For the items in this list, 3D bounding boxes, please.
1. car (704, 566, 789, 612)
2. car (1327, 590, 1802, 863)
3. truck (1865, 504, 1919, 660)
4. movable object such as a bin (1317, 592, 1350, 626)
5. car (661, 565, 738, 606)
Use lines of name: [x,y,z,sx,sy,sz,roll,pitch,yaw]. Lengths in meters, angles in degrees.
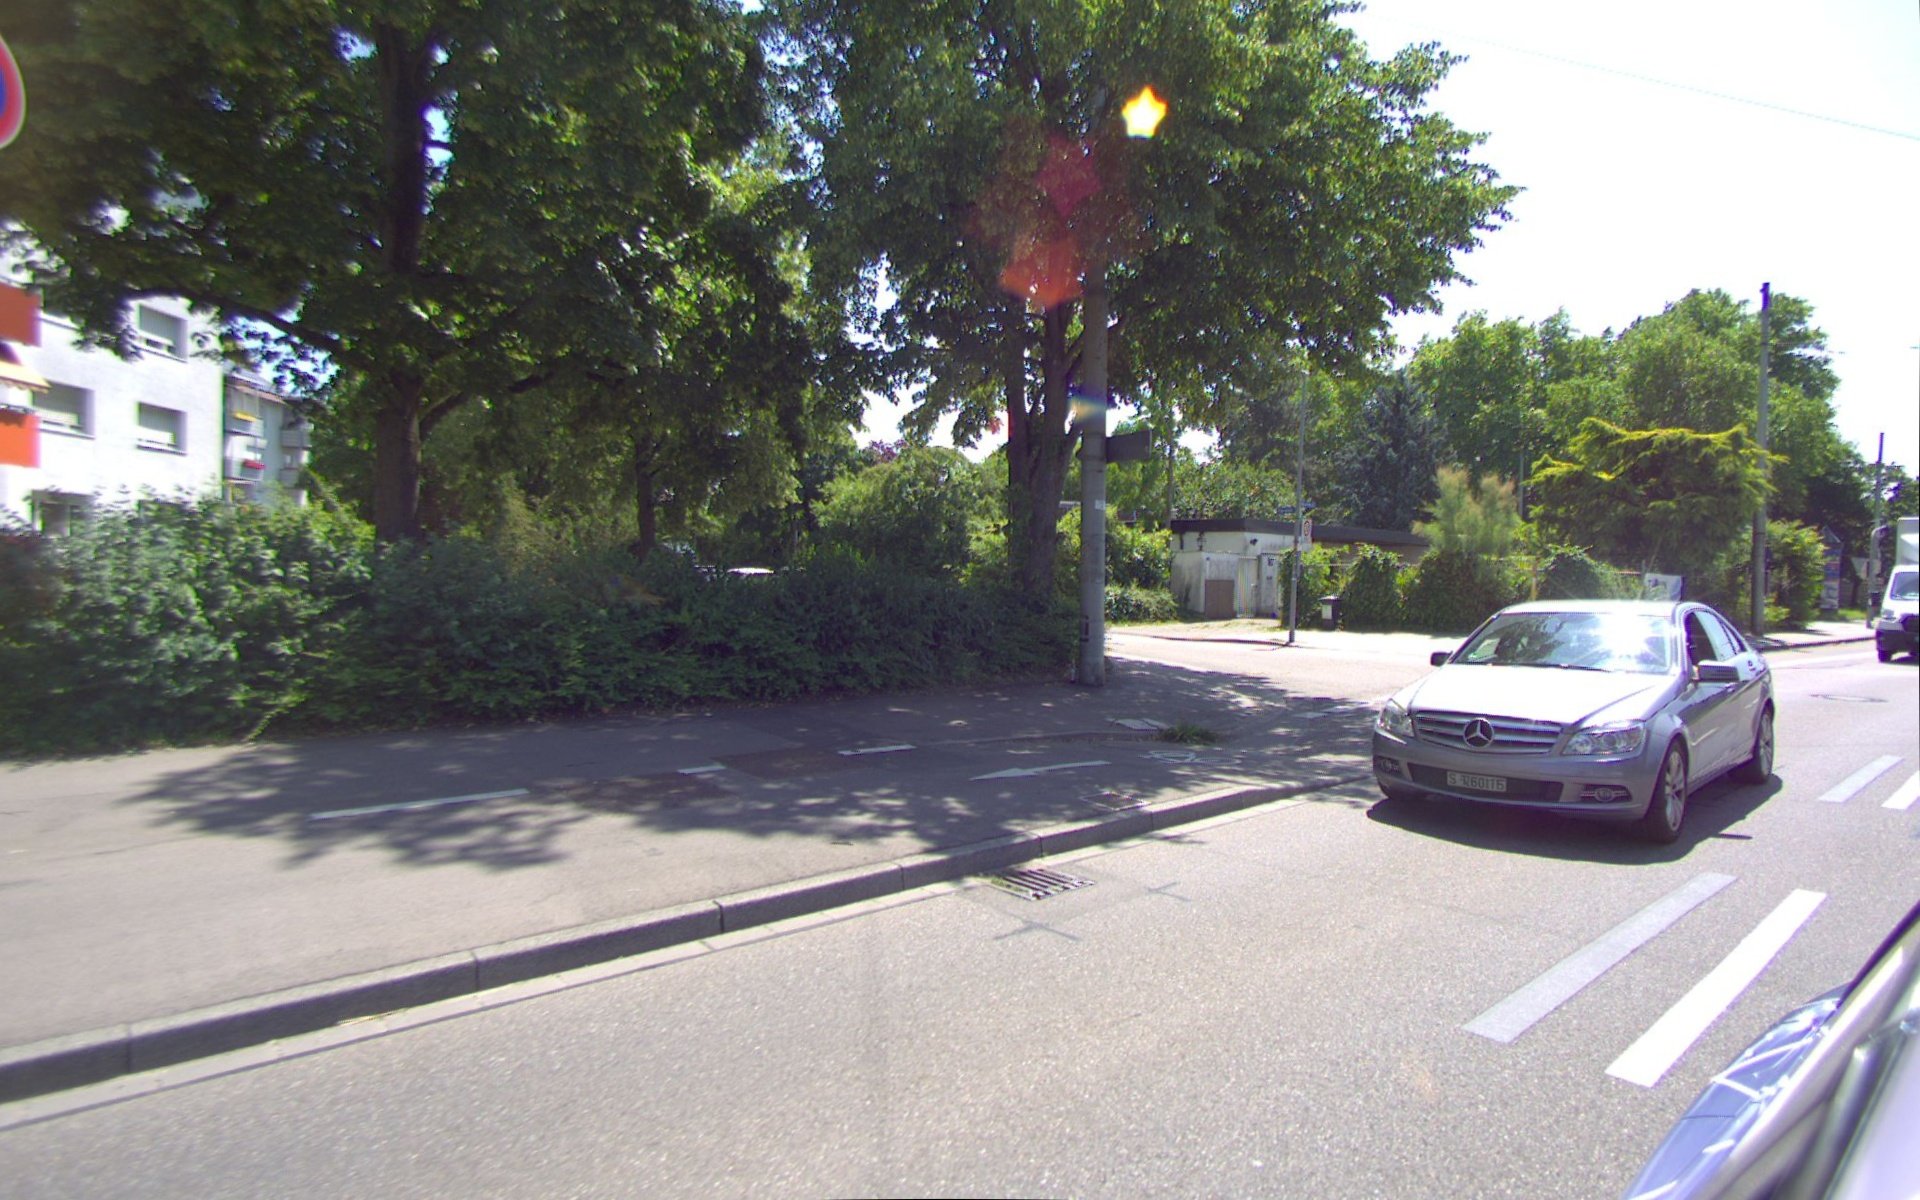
car: [-7.596,-0.421,35.745,1.622,1.523,3.646,0,2,-36]
car: [4.635,0.683,7.551,3.901,1.478,1.902,0,1,-41]
truck: [23.809,-0.406,23.797,8.160,3.318,2.295,-1,2,-38]
movable object such as a bin: [10.507,0.244,28.450,0.626,0.914,0.631,0,2,-37]
car: [-10.164,-0.596,39.347,1.598,1.514,4.001,0,2,-35]
